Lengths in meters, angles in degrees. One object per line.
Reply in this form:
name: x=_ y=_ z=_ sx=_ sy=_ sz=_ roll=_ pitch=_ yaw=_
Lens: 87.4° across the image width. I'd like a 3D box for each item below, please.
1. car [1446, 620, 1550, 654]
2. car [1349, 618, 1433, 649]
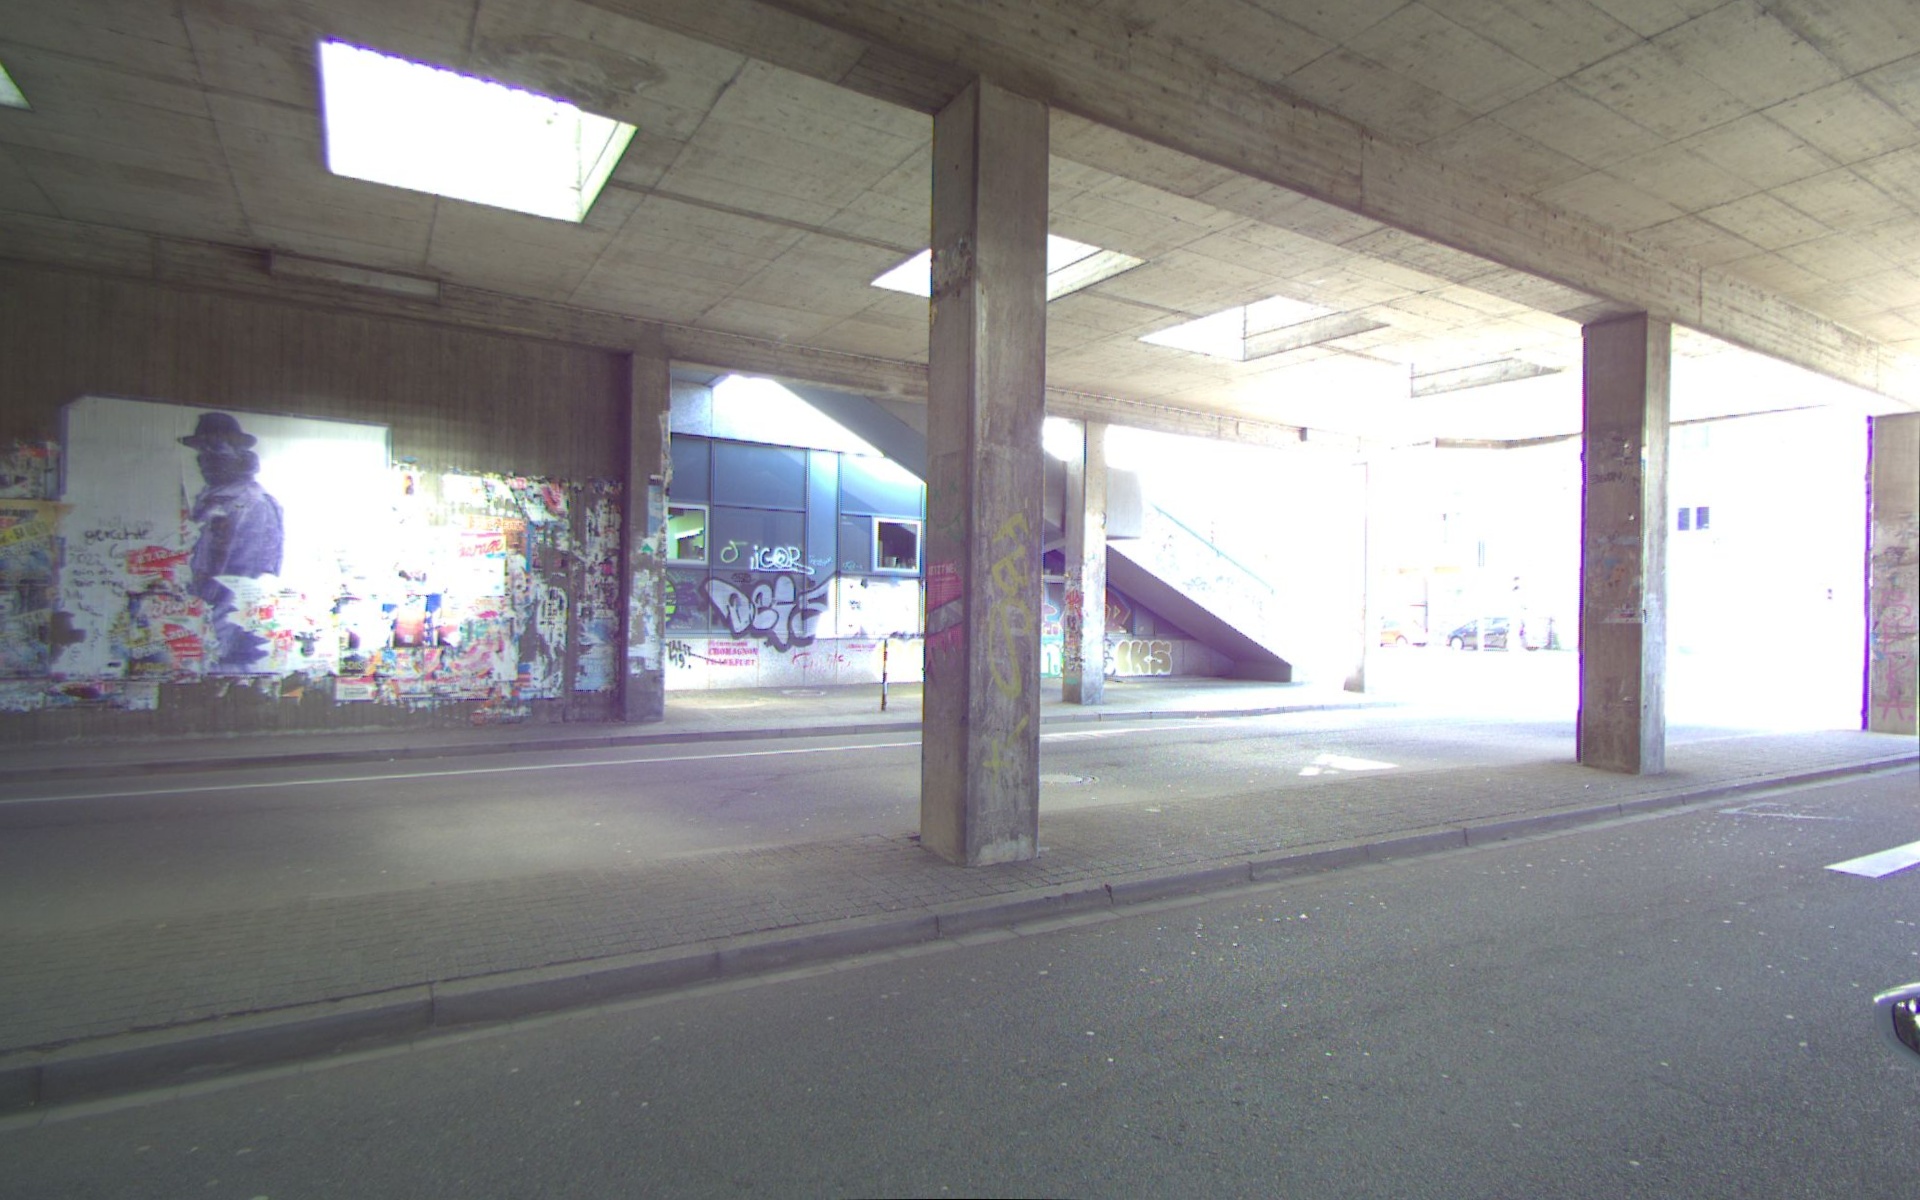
car: x=25.445 y=1.722 z=47.643 sx=1.718 sy=1.495 sz=4.089 roll=2 pitch=-1 yaw=-31
car: x=22.533 y=1.742 z=52.599 sx=1.730 sy=1.495 sz=3.741 roll=2 pitch=-1 yaw=-31
